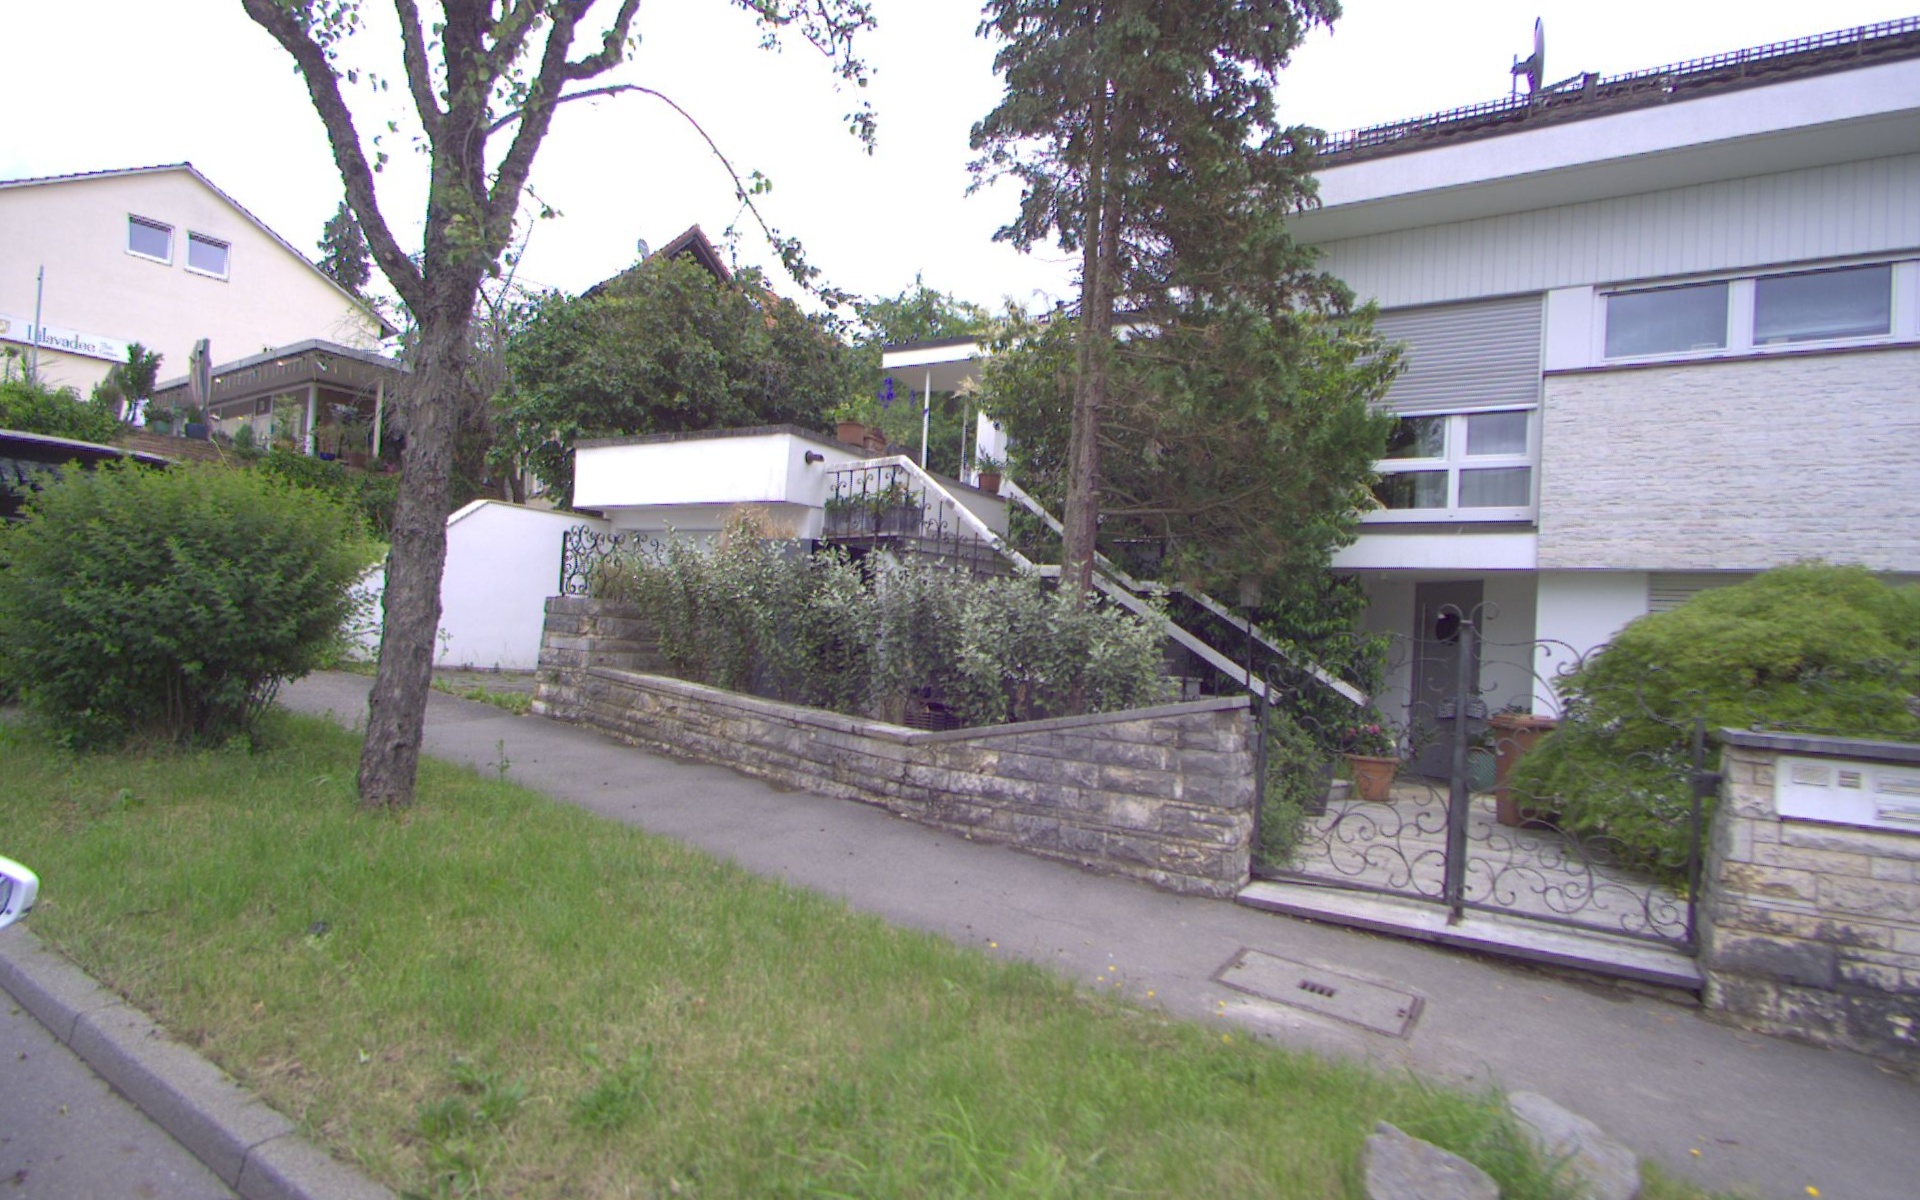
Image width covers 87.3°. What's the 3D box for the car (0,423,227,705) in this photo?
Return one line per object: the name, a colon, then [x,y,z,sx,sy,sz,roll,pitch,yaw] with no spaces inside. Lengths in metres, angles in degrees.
car: [-8.355,-0.462,8.217,5.132,1.861,1.938,7,0,32]
